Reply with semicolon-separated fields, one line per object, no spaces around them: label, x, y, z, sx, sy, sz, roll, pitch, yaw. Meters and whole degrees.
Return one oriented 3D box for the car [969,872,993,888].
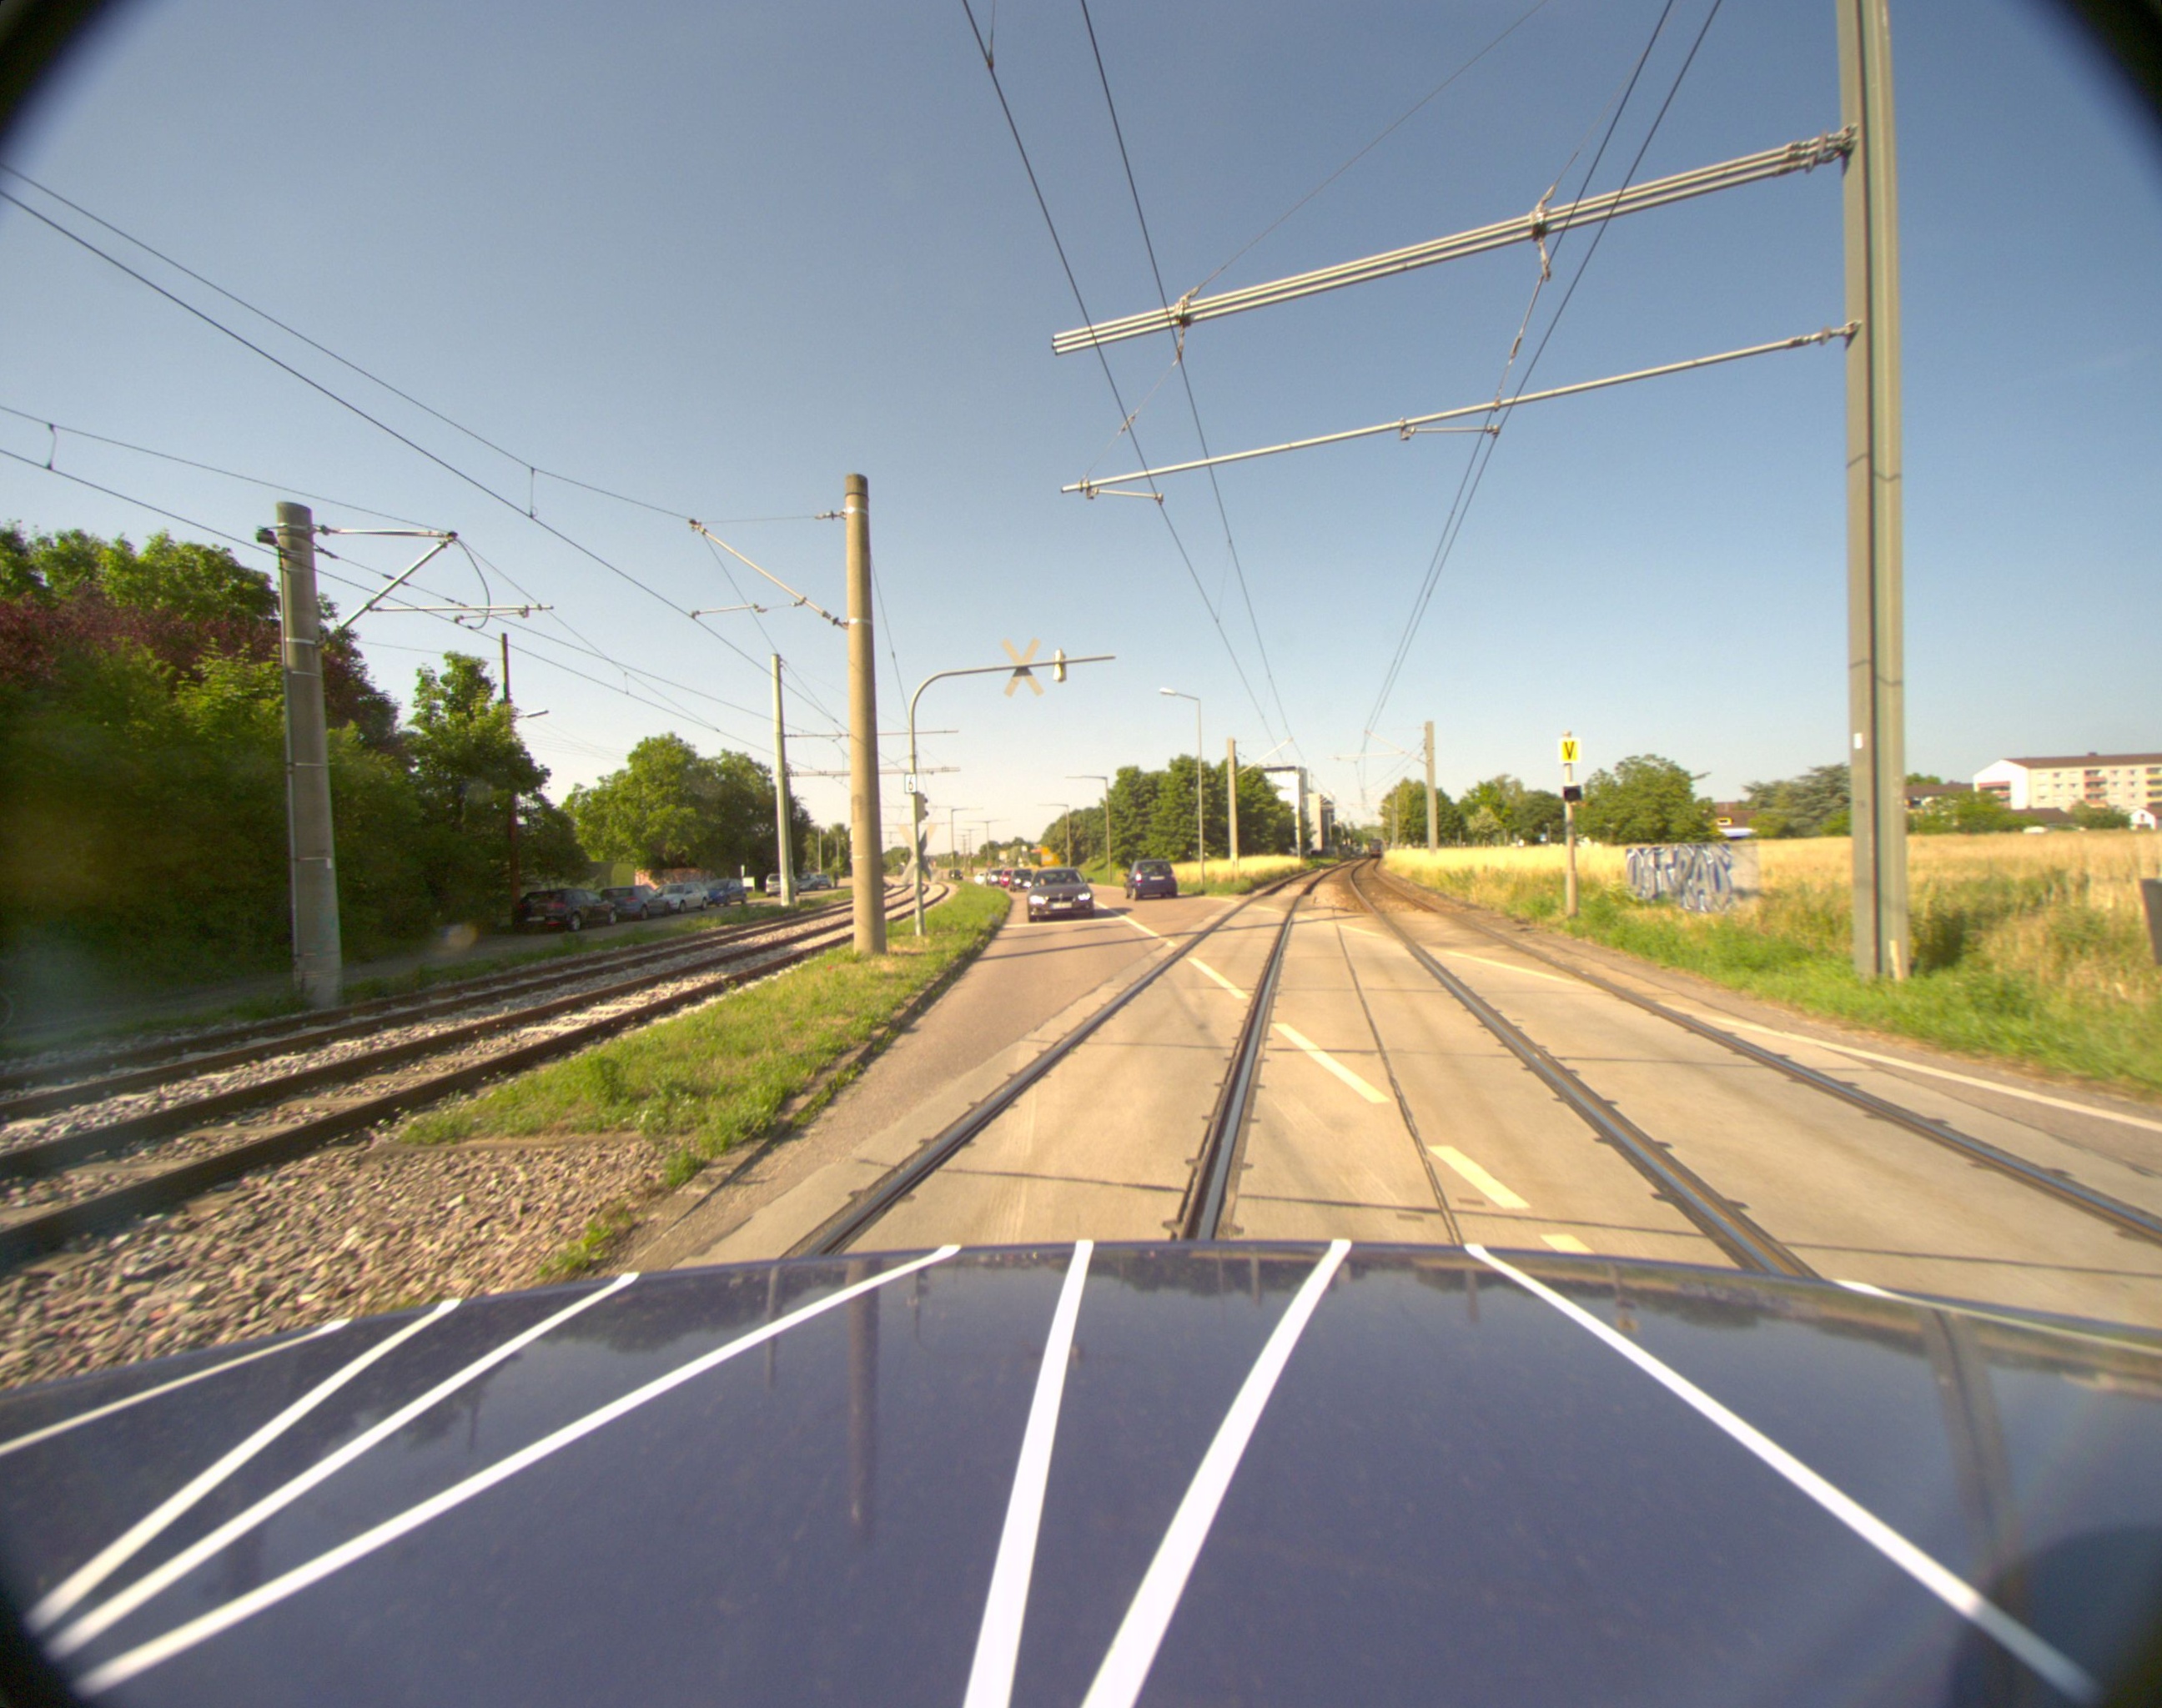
car;-11.397;2.899;86.496;1.971;1.609;4.302;-3;0;-17

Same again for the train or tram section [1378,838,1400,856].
train or tram section;66.149;-1.628;163.132;2.920;3.434;12.185;-3;0;29

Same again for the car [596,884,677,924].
car;-18.157;1.986;31.220;1.489;1.393;4.147;-2;0;-10

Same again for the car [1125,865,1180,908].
car;2.697;1.227;29.443;1.628;1.485;4.000;-2;-1;-1

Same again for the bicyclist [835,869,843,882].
bicyclist;-22.643;1.988;71.057;0.641;1.226;0.790;-3;0;-12

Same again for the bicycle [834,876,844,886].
bicycle;-22.608;2.539;71.028;0.645;0.904;1.812;-3;0;-12

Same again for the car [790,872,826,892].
car;-23.580;2.382;65.712;1.913;1.580;4.725;-1;-1;-8

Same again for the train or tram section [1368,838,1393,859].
train or tram section;59.836;-1.128;151.555;2.909;3.548;14.281;-3;1;27

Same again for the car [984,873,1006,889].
car;-8.651;2.688;76.467;1.609;1.504;4.264;-4;-1;-13

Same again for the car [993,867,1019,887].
car;-6.776;2.039;68.199;1.849;1.586;3.735;-4;-1;-11

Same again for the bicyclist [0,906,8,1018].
bicyclist;-14.005;1.374;9.185;0.631;1.414;0.962;-3;0;-2

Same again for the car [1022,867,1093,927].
car;-0.589;1.142;21.742;1.747;1.444;3.947;-4;-1;1

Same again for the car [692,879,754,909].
car;-19.718;2.191;42.040;1.683;1.421;3.910;-4;-1;-4

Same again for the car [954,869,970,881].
car;-17.605;3.112;112.482;1.839;1.504;4.148;-4;-1;-15

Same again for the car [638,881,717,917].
car;-19.038;2.085;36.092;1.714;1.456;4.388;-2;-1;-5

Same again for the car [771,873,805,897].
car;-20.749;2.172;53.980;1.527;1.600;4.480;-1;-1;-12

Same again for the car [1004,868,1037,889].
car;-4.362;1.718;54.368;1.849;1.347;4.151;-4;-1;-11

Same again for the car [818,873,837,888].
car;-25.781;2.665;77.293;1.540;1.439;4.127;-1;-1;-14

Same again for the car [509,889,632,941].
car;-17.527;2.041;26.351;1.627;1.402;4.519;-3;0;-8

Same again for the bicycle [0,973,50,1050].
bicycle;-13.972;2.031;9.135;0.644;0.904;1.844;-3;0;-2

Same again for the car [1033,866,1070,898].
car;-1.535;1.415;38.760;1.711;1.444;4.589;-3;-1;-4
